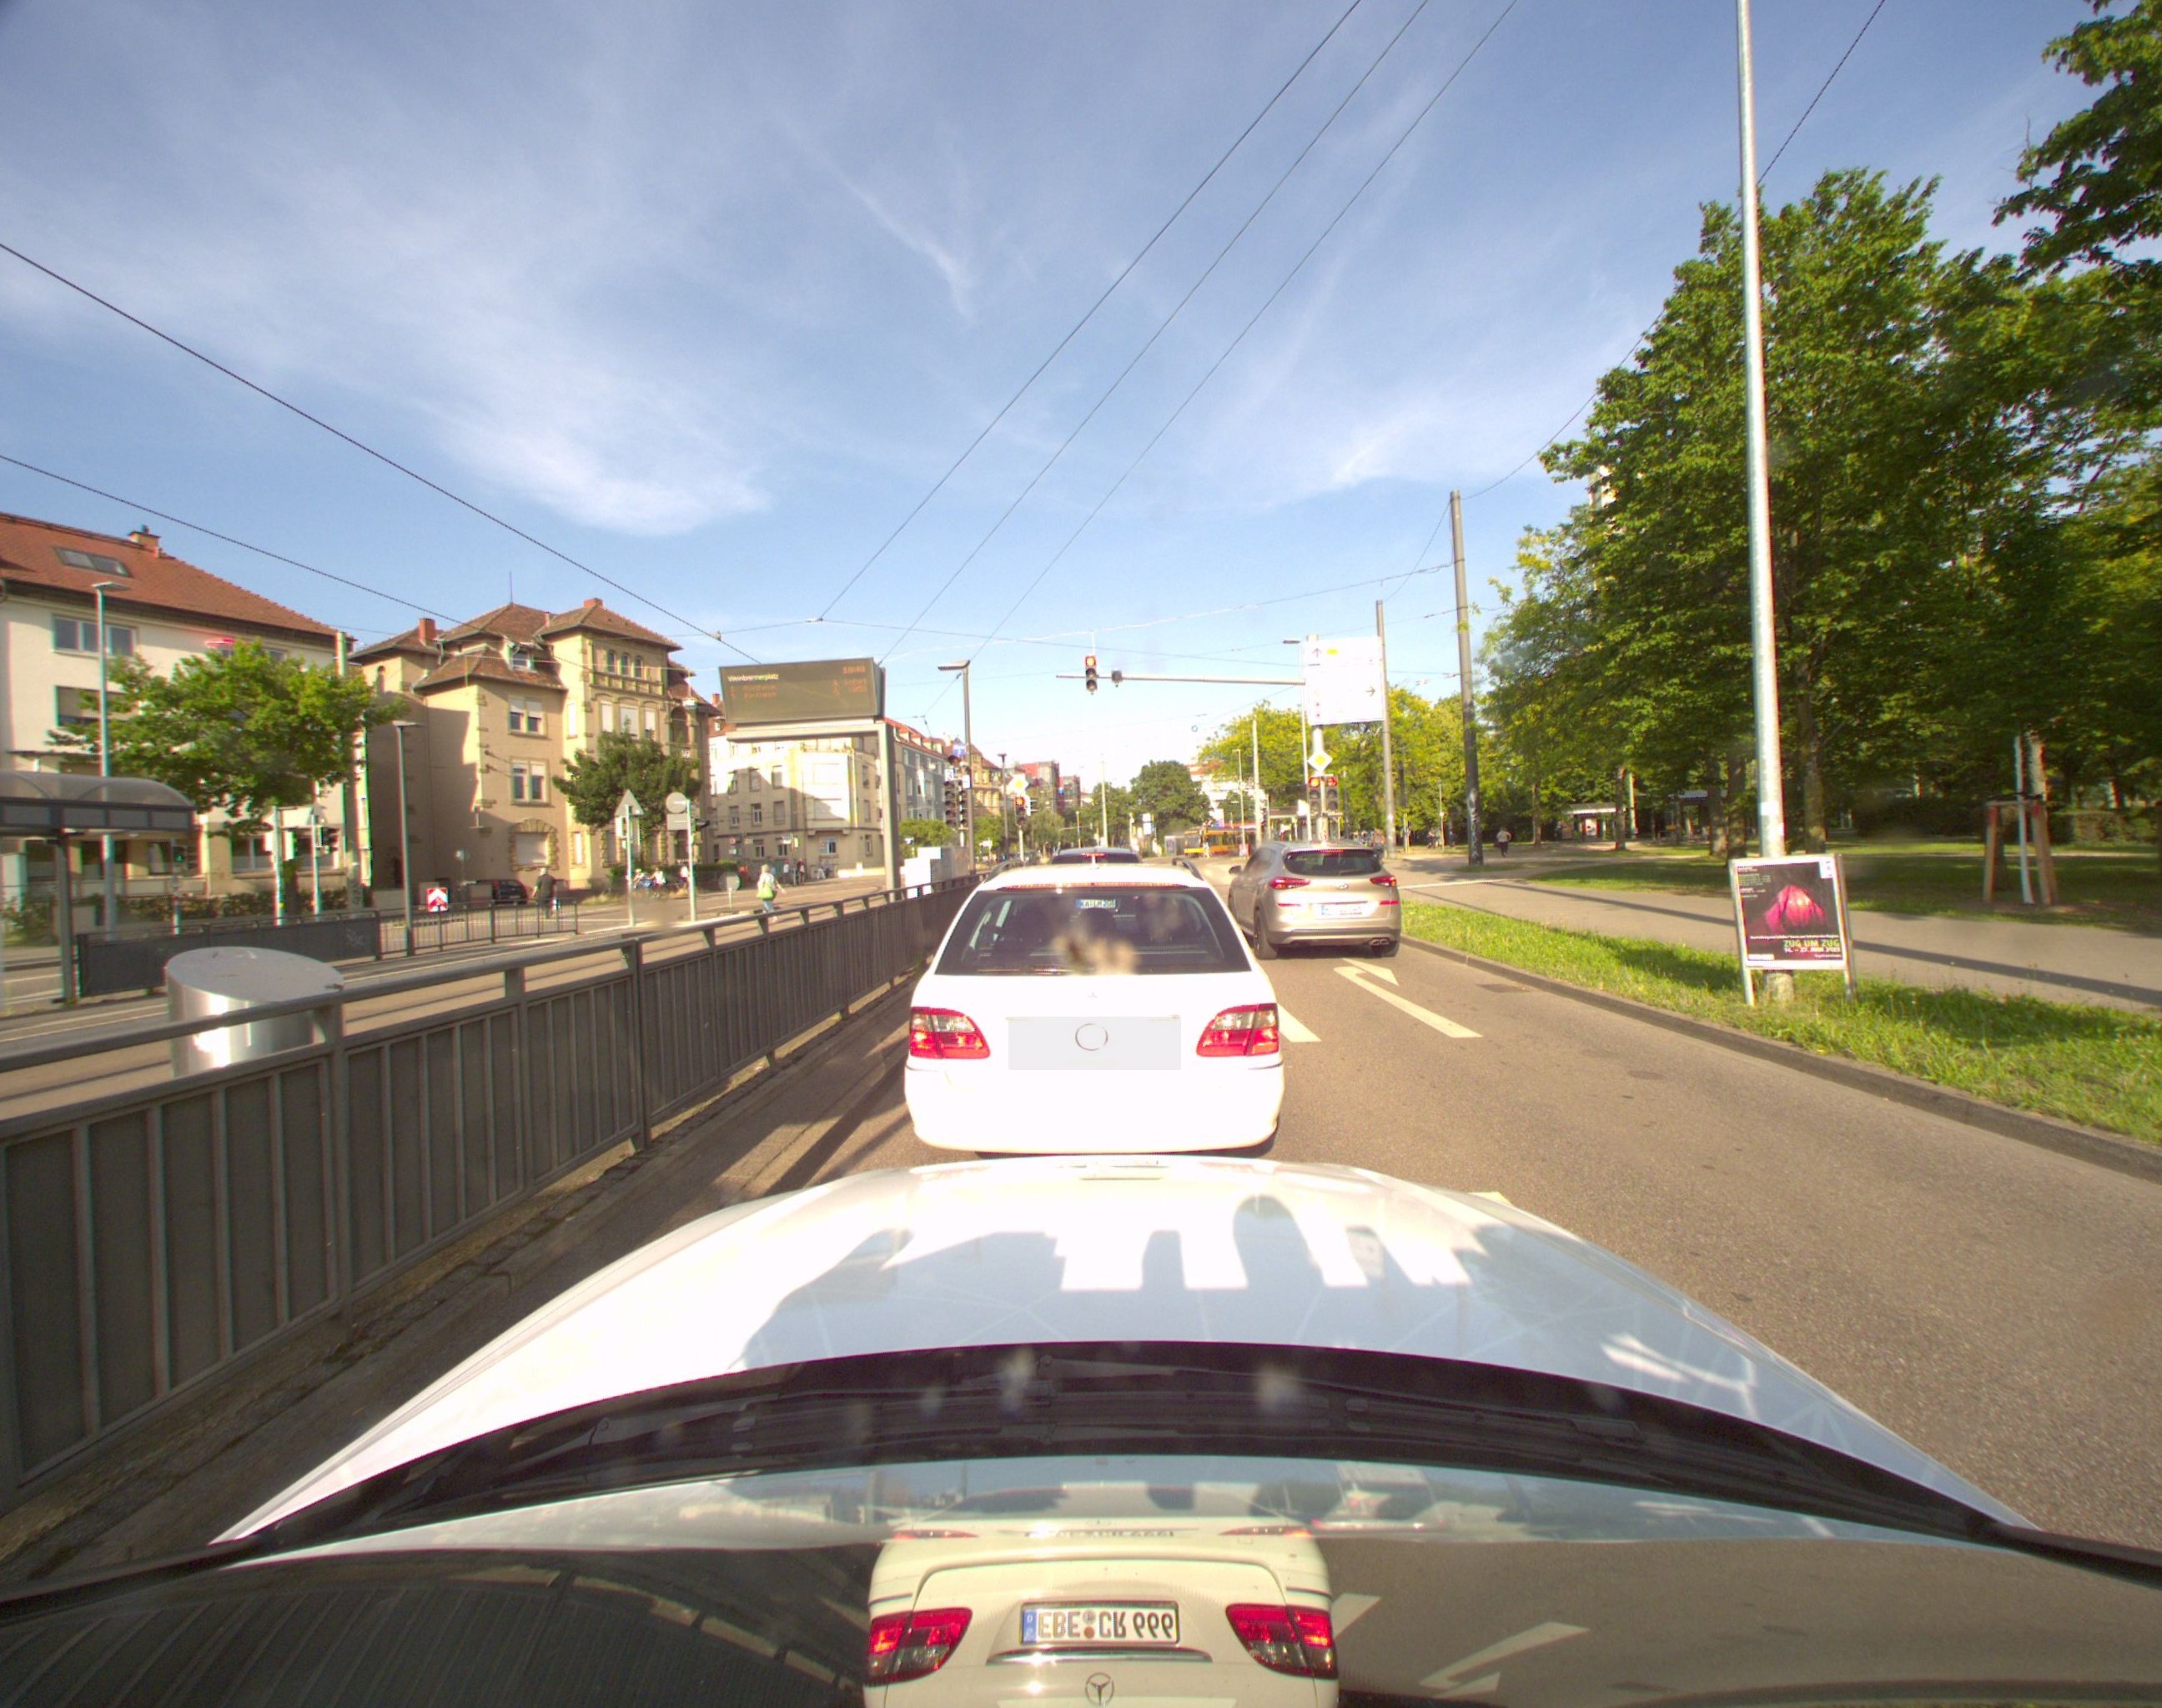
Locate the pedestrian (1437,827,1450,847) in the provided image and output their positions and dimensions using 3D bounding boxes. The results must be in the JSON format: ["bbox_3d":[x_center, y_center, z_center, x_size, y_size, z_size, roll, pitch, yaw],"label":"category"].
[{"bbox_3d":[27.771,-1.302,62.375,0.805,1.487,0.705,-3,0,26],"label":"pedestrian"}]

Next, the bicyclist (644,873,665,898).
[{"bbox_3d":[-19.017,1.400,36.336,0.510,1.044,0.680,-3,0,4],"label":"bicyclist"}]

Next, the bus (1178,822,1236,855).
[{"bbox_3d":[14.777,-1.654,94.508,3.080,3.606,12.446,-1,-1,26],"label":"bus"}]

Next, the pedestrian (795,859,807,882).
[{"bbox_3d":[-18.612,1.115,54.139,0.434,1.500,0.551,-3,0,16],"label":"pedestrian"}]

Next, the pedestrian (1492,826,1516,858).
[{"bbox_3d":[22.632,-0.644,43.566,0.758,1.636,0.800,-3,0,-38],"label":"pedestrian"}]

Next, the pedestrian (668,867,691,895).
[{"bbox_3d":[-23.151,1.541,46.950,0.822,1.552,0.786,-3,0,23],"label":"pedestrian"}]

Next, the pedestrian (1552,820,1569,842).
[{"bbox_3d":[36.897,-1.770,62.620,0.831,1.636,0.804,-3,0,8],"label":"pedestrian"}]

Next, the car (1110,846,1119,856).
[{"bbox_3d":[7.598,-0.672,186.395,1.986,2.014,4.001,-1,0,2],"label":"car"}]

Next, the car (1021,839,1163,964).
[{"bbox_3d":[0.214,0.624,12.655,1.878,1.651,3.649,0,0,2],"label":"car"}]

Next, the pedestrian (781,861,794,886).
[{"bbox_3d":[-19.452,1.273,54.009,0.505,1.626,0.610,-3,0,8],"label":"pedestrian"}]

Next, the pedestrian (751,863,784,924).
[{"bbox_3d":[-8.468,1.047,22.007,0.611,1.599,0.632,-3,0,-5],"label":"pedestrian"}]

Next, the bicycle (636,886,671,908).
[{"bbox_3d":[-19.005,1.904,36.271,0.523,0.834,1.688,-3,0,5],"label":"bicycle"}]

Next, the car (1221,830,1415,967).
[{"bbox_3d":[3.341,0.567,12.219,1.878,1.651,3.649,-3,0,2],"label":"car"}]

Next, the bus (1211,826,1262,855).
[{"bbox_3d":[20.368,-1.636,105.808,3.080,3.606,12.665,-1,-1,27],"label":"bus"}]

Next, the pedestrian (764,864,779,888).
[{"bbox_3d":[-20.565,1.467,54.041,0.626,1.541,0.711,-3,0,1],"label":"pedestrian"}]

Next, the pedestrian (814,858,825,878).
[{"bbox_3d":[-22.537,1.209,70.129,0.615,1.660,0.589,-3,0,17],"label":"pedestrian"}]

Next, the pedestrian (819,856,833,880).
[{"bbox_3d":[-22.247,1.222,70.992,0.768,2.013,0.790,-3,0,17],"label":"pedestrian"}]

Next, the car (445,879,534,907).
[{"bbox_3d":[-29.450,1.910,40.561,4.066,1.310,1.774,-1,-1,24],"label":"car"}]

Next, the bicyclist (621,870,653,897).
[{"bbox_3d":[-21.720,1.424,39.844,0.758,1.262,1.178,-3,0,10],"label":"bicyclist"}]

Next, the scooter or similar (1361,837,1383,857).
[{"bbox_3d":[16.187,-0.385,45.300,0.421,1.117,1.322,-3,0,-18],"label":"scooter or similar"}]

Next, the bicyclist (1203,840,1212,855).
[{"bbox_3d":[13.229,-0.647,85.032,0.855,1.482,0.792,-3,0,11],"label":"bicyclist"}]

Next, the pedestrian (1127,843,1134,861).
[{"bbox_3d":[5.317,-0.209,87.403,0.638,1.857,0.554,-3,0,13],"label":"pedestrian"}]

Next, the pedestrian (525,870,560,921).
[{"bbox_3d":[-17.853,1.367,26.999,0.798,1.645,0.748,-3,0,-42],"label":"pedestrian"}]

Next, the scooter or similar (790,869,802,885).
[{"bbox_3d":[-19.096,1.539,54.663,0.541,1.079,0.683,-1,-1,1],"label":"scooter or similar"}]

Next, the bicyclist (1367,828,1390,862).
[{"bbox_3d":[11.558,-0.358,31.611,0.532,1.262,0.869,-3,0,2],"label":"bicyclist"}]

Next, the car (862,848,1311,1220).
[{"bbox_3d":[0.070,0.725,5.119,1.789,1.470,3.649,-1,0,1],"label":"car"}]

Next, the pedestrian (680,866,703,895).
[{"bbox_3d":[-22.242,1.516,46.529,0.822,1.552,0.786,-3,0,23],"label":"pedestrian"}]

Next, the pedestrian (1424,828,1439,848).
[{"bbox_3d":[27.259,-1.240,63.291,0.820,1.487,0.692,-3,0,-40],"label":"pedestrian"}]

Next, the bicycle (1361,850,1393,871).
[{"bbox_3d":[11.553,0.231,31.821,0.493,0.757,2.169,-4,0,2],"label":"bicycle"}]

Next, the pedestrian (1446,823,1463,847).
[{"bbox_3d":[29.122,-1.477,63.500,0.797,1.785,0.838,-3,0,-2],"label":"pedestrian"}]

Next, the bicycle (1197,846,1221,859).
[{"bbox_3d":[13.345,-0.129,84.998,2.467,1.213,0.809,-3,0,9],"label":"bicycle"}]

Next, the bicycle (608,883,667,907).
[{"bbox_3d":[-21.684,1.989,39.897,0.779,0.914,3.006,-3,0,10],"label":"bicycle"}]

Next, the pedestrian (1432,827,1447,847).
[{"bbox_3d":[28.107,-1.323,63.880,0.813,1.487,0.698,-3,0,-9],"label":"pedestrian"}]
